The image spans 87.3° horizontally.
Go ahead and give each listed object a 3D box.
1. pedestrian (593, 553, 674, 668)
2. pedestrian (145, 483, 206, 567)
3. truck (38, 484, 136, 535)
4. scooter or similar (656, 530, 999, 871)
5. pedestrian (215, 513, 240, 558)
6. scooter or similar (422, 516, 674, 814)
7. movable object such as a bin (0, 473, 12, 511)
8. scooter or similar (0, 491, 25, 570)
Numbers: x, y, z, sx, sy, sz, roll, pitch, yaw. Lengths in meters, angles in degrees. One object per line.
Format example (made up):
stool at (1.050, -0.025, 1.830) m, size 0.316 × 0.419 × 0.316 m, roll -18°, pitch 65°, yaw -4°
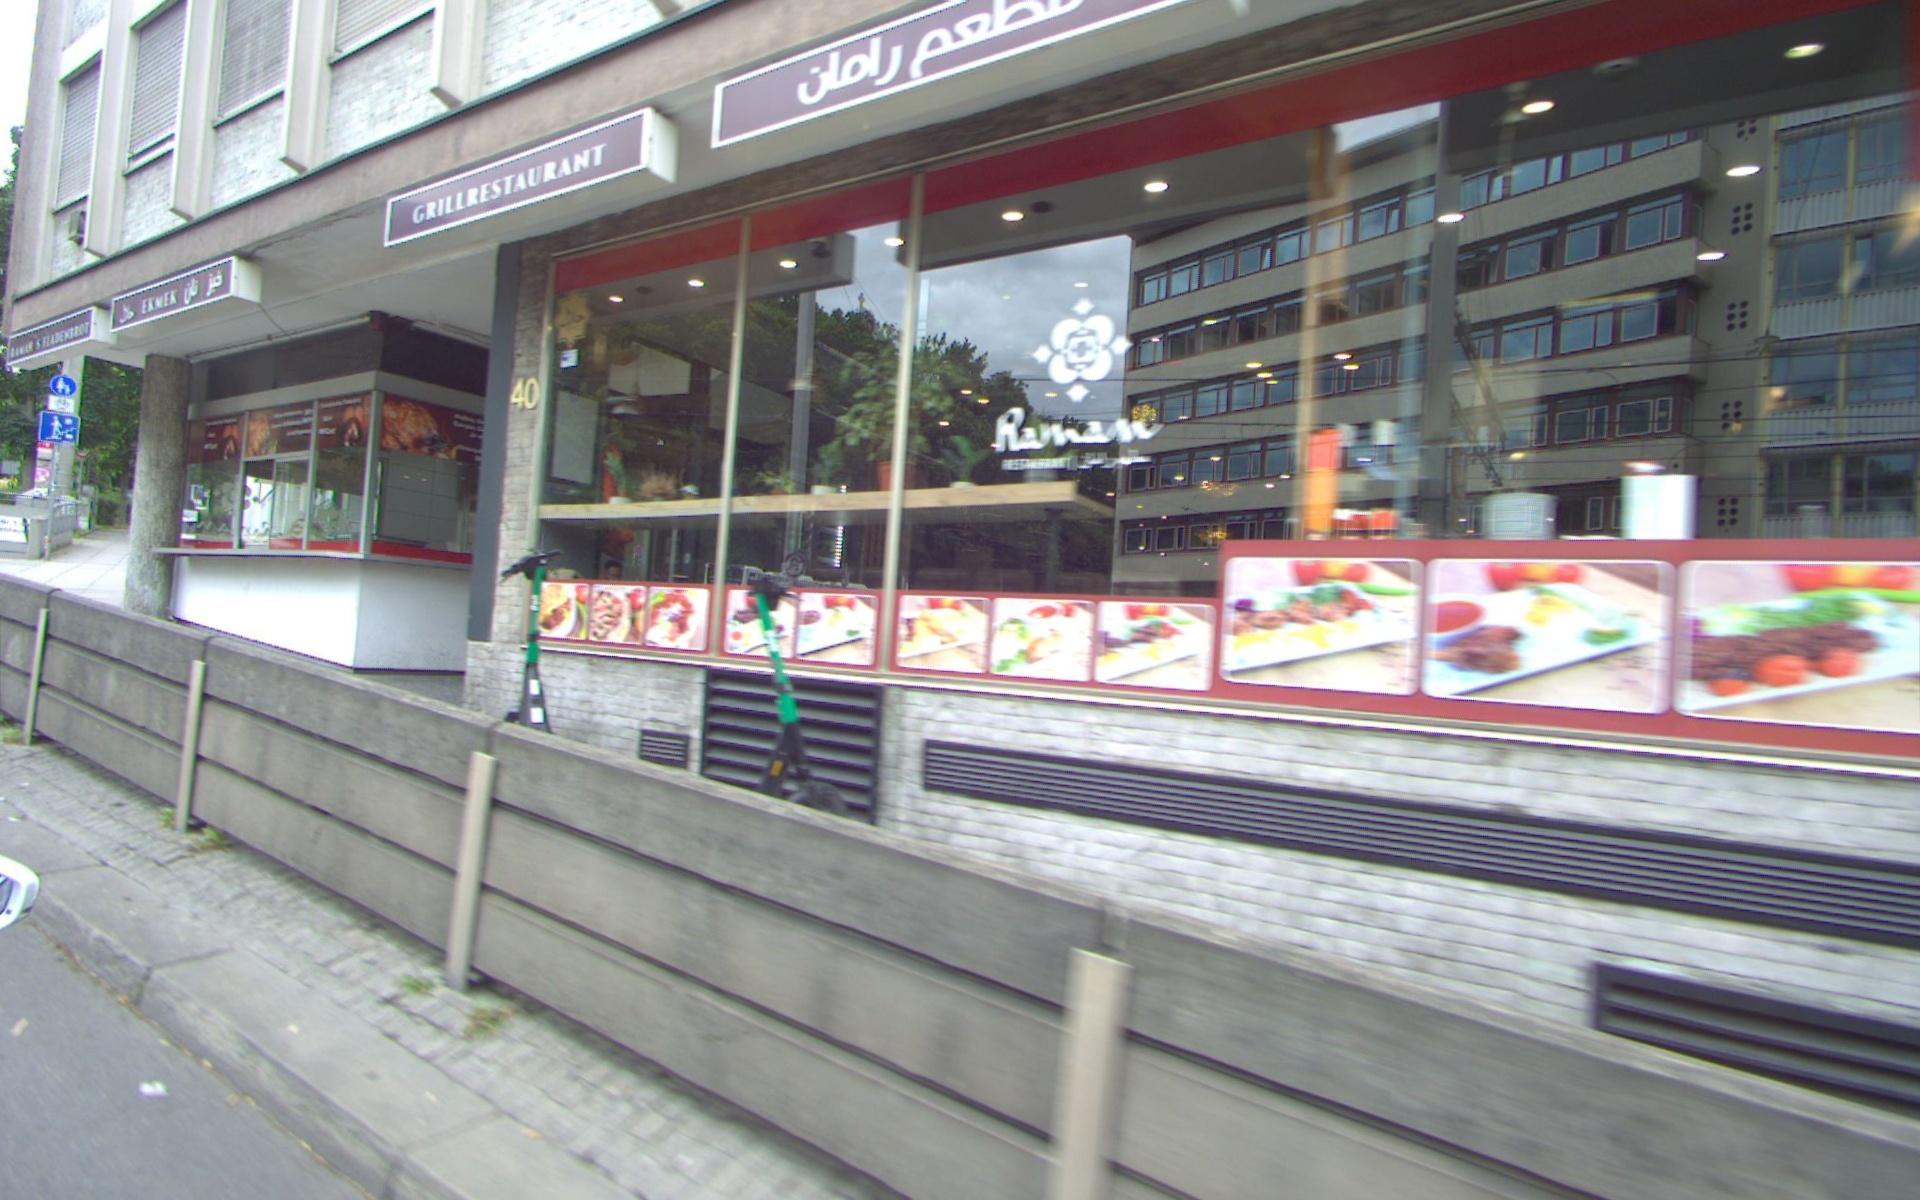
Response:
pedestrian at (-3.547, 0.118, 10.936) m, size 0.544 × 1.159 × 0.507 m, roll 7°, pitch 0°, yaw 36°
pedestrian at (-18.793, -1.791, 24.133) m, size 0.829 × 1.830 × 1.140 m, roll 10°, pitch -2°, yaw -34°
truck at (-70.007, -7.184, 80.884) m, size 2.898 × 2.526 × 7.130 m, roll 20°, pitch -6°, yaw -17°
scooter or similar at (-0.614, 0.391, 4.525) m, size 1.312 × 1.264 × 0.631 m, roll 6°, pitch 0°, yaw 34°
pedestrian at (-30.910, -2.729, 42.464) m, size 0.670 × 1.817 × 0.602 m, roll 6°, pitch 1°, yaw -39°
scooter or similar at (-2.379, 0.337, 5.793) m, size 1.159 × 1.493 × 0.668 m, roll 6°, pitch 0°, yaw 34°
movable object such as a bin at (-75.251, -8.455, 77.872) m, size 1.974 × 2.874 × 2.017 m, roll 5°, pitch 1°, yaw -25°
scooter or similar at (-15.927, -1.165, 16.041) m, size 0.546 × 1.270 × 1.445 m, roll 6°, pitch 1°, yaw 3°
